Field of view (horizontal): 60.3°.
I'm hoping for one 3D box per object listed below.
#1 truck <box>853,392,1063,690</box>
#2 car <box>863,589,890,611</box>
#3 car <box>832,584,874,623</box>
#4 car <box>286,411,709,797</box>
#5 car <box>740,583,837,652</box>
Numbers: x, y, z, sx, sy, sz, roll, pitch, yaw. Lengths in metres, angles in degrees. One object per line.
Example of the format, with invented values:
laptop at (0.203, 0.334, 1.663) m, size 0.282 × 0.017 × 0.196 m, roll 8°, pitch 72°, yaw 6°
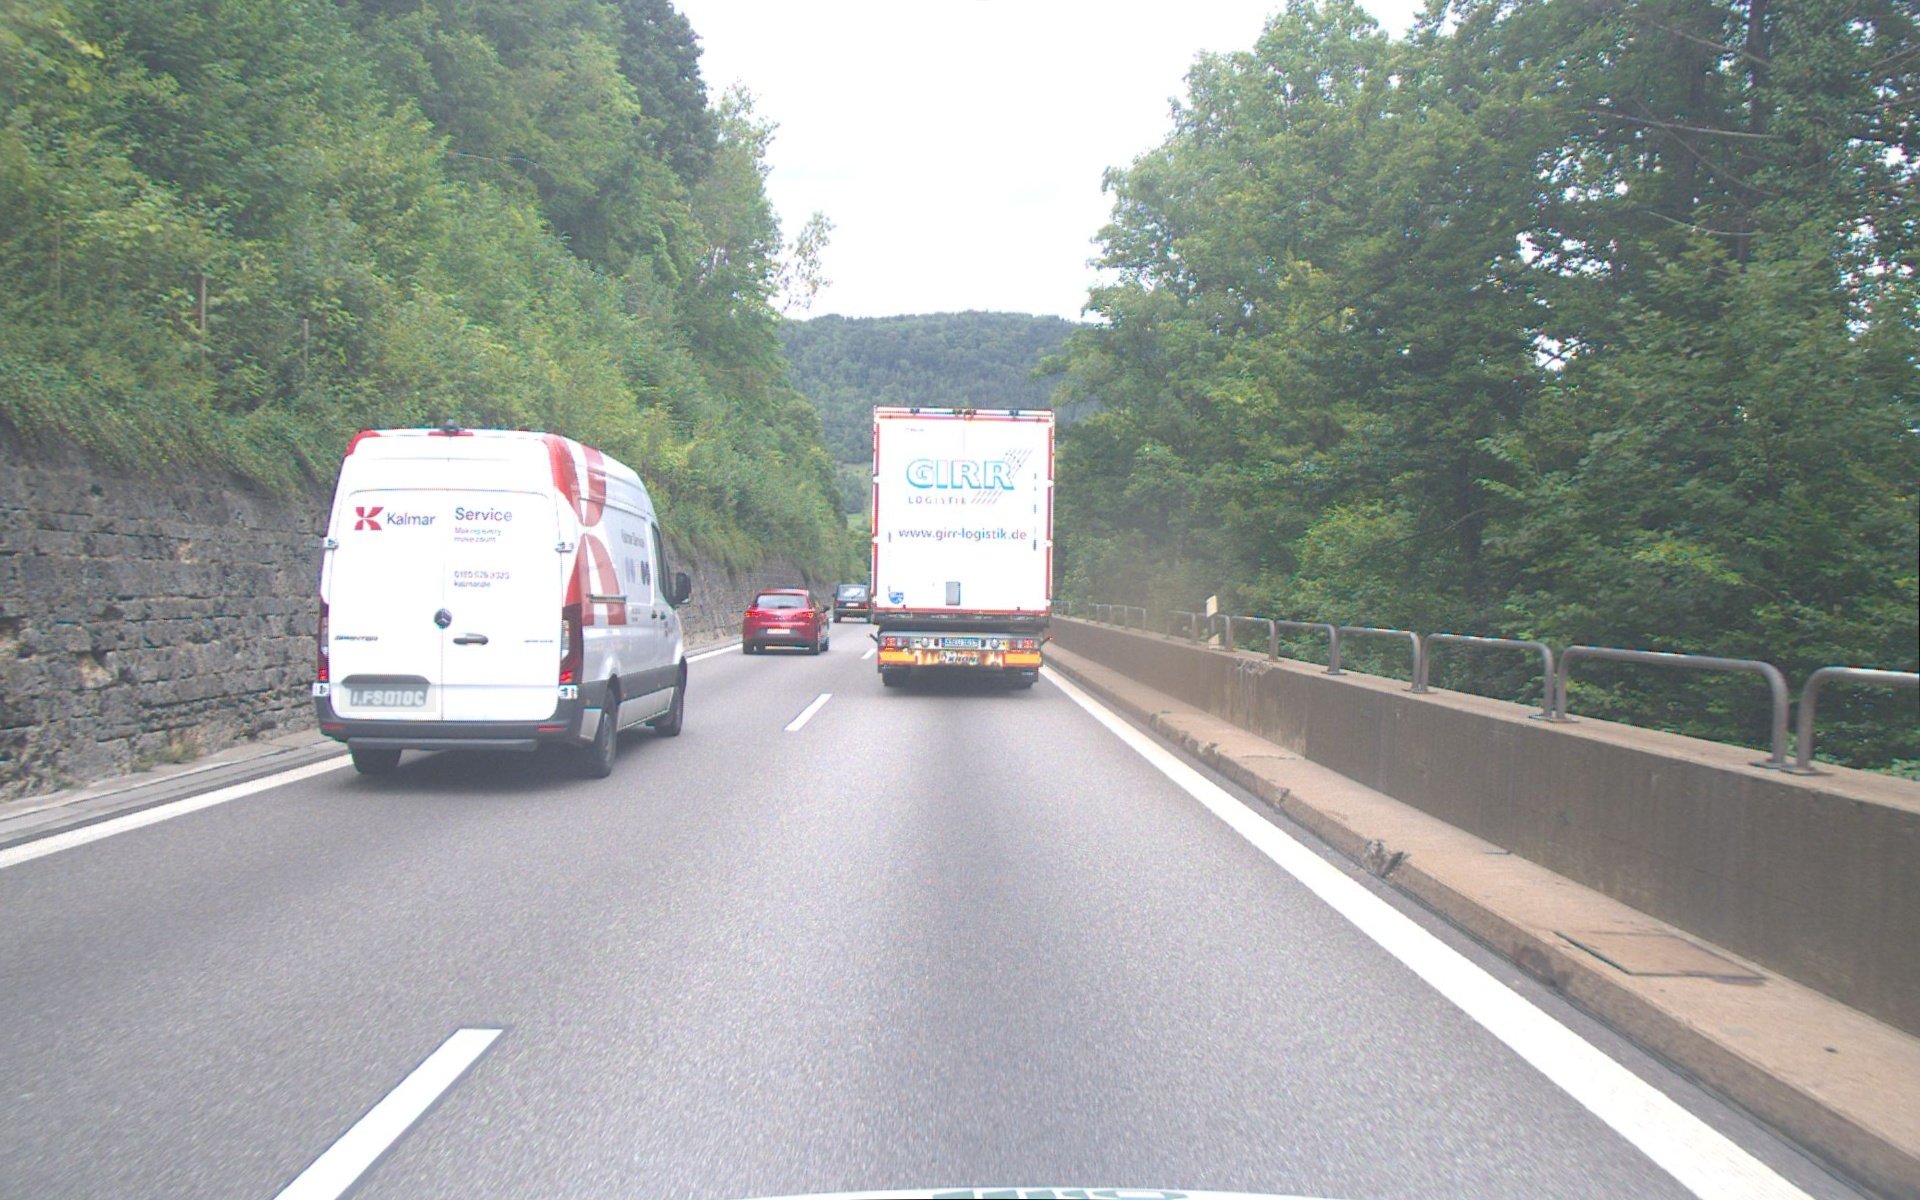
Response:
truck at (-0.024, -0.808, 27.063) m, size 2.849 × 4.030 × 9.278 m, roll 0°, pitch 0°, yaw 0°
car at (-5.648, 0.007, 112.194) m, size 1.694 × 1.512 × 3.999 m, roll 0°, pitch 0°, yaw -1°
car at (-4.614, 0.149, 71.754) m, size 1.635 × 1.667 × 4.067 m, roll 0°, pitch 0°, yaw -1°
car at (-3.628, 0.034, 14.416) m, size 1.985 × 2.630 × 6.273 m, roll 0°, pitch 0°, yaw -1°
car at (-3.875, 0.387, 38.072) m, size 1.730 × 1.485 × 4.411 m, roll 0°, pitch 0°, yaw 1°
